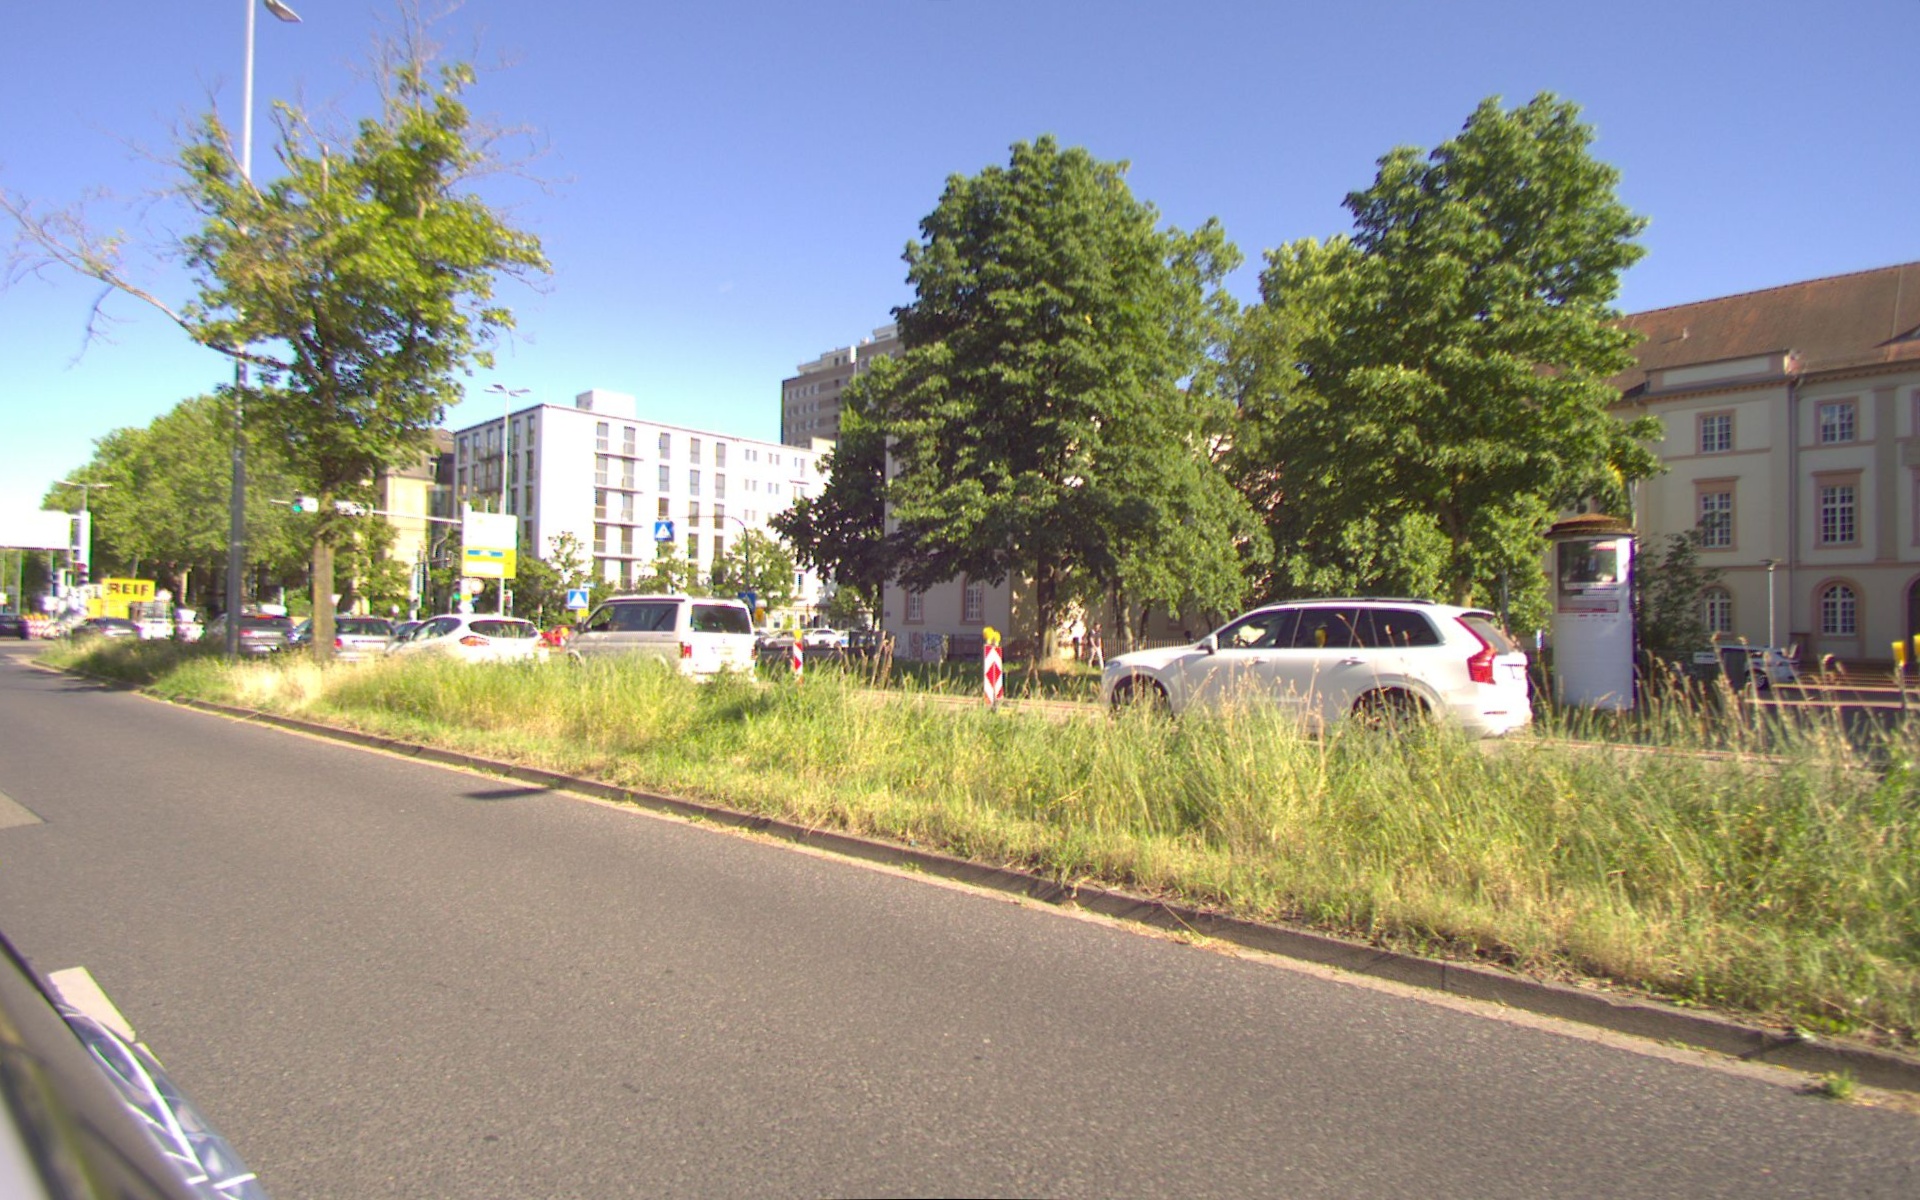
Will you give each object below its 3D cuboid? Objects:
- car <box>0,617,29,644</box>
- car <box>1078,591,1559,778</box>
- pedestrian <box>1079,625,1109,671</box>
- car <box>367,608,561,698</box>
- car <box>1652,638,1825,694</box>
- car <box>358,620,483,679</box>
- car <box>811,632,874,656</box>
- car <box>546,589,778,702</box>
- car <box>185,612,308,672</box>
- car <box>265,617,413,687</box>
[{"bbox_3d":[-57.875,1.845,61.291,4.278,1.598,1.837,-1,-2,43],"label":"car"},{"bbox_3d":[3.969,0.845,11.848,5.028,1.756,1.777,-1,-2,40],"label":"car"},{"bbox_3d":[4.600,1.646,34.759,0.780,1.547,0.733,-1,-2,36],"label":"pedestrian"},{"bbox_3d":[-9.507,0.951,19.259,4.202,1.530,1.777,-1,-2,40],"label":"car"},{"bbox_3d":[27.233,2.268,35.516,4.684,1.503,1.625,3,2,41],"label":"car"},{"bbox_3d":[-15.401,1.361,28.821,4.077,1.530,1.777,-1,-2,40],"label":"car"},{"bbox_3d":[-8.937,3.316,77.540,1.919,1.630,4.645,3,1,43],"label":"car"},{"bbox_3d":[-6.241,0.878,20.888,5.014,2.043,2.210,-1,-2,40],"label":"car"},{"bbox_3d":[-19.984,1.108,28.277,4.344,1.530,1.777,0,-1,40],"label":"car"},{"bbox_3d":[-14.941,1.183,24.270,4.360,1.530,1.777,-1,-1,40],"label":"car"}]
